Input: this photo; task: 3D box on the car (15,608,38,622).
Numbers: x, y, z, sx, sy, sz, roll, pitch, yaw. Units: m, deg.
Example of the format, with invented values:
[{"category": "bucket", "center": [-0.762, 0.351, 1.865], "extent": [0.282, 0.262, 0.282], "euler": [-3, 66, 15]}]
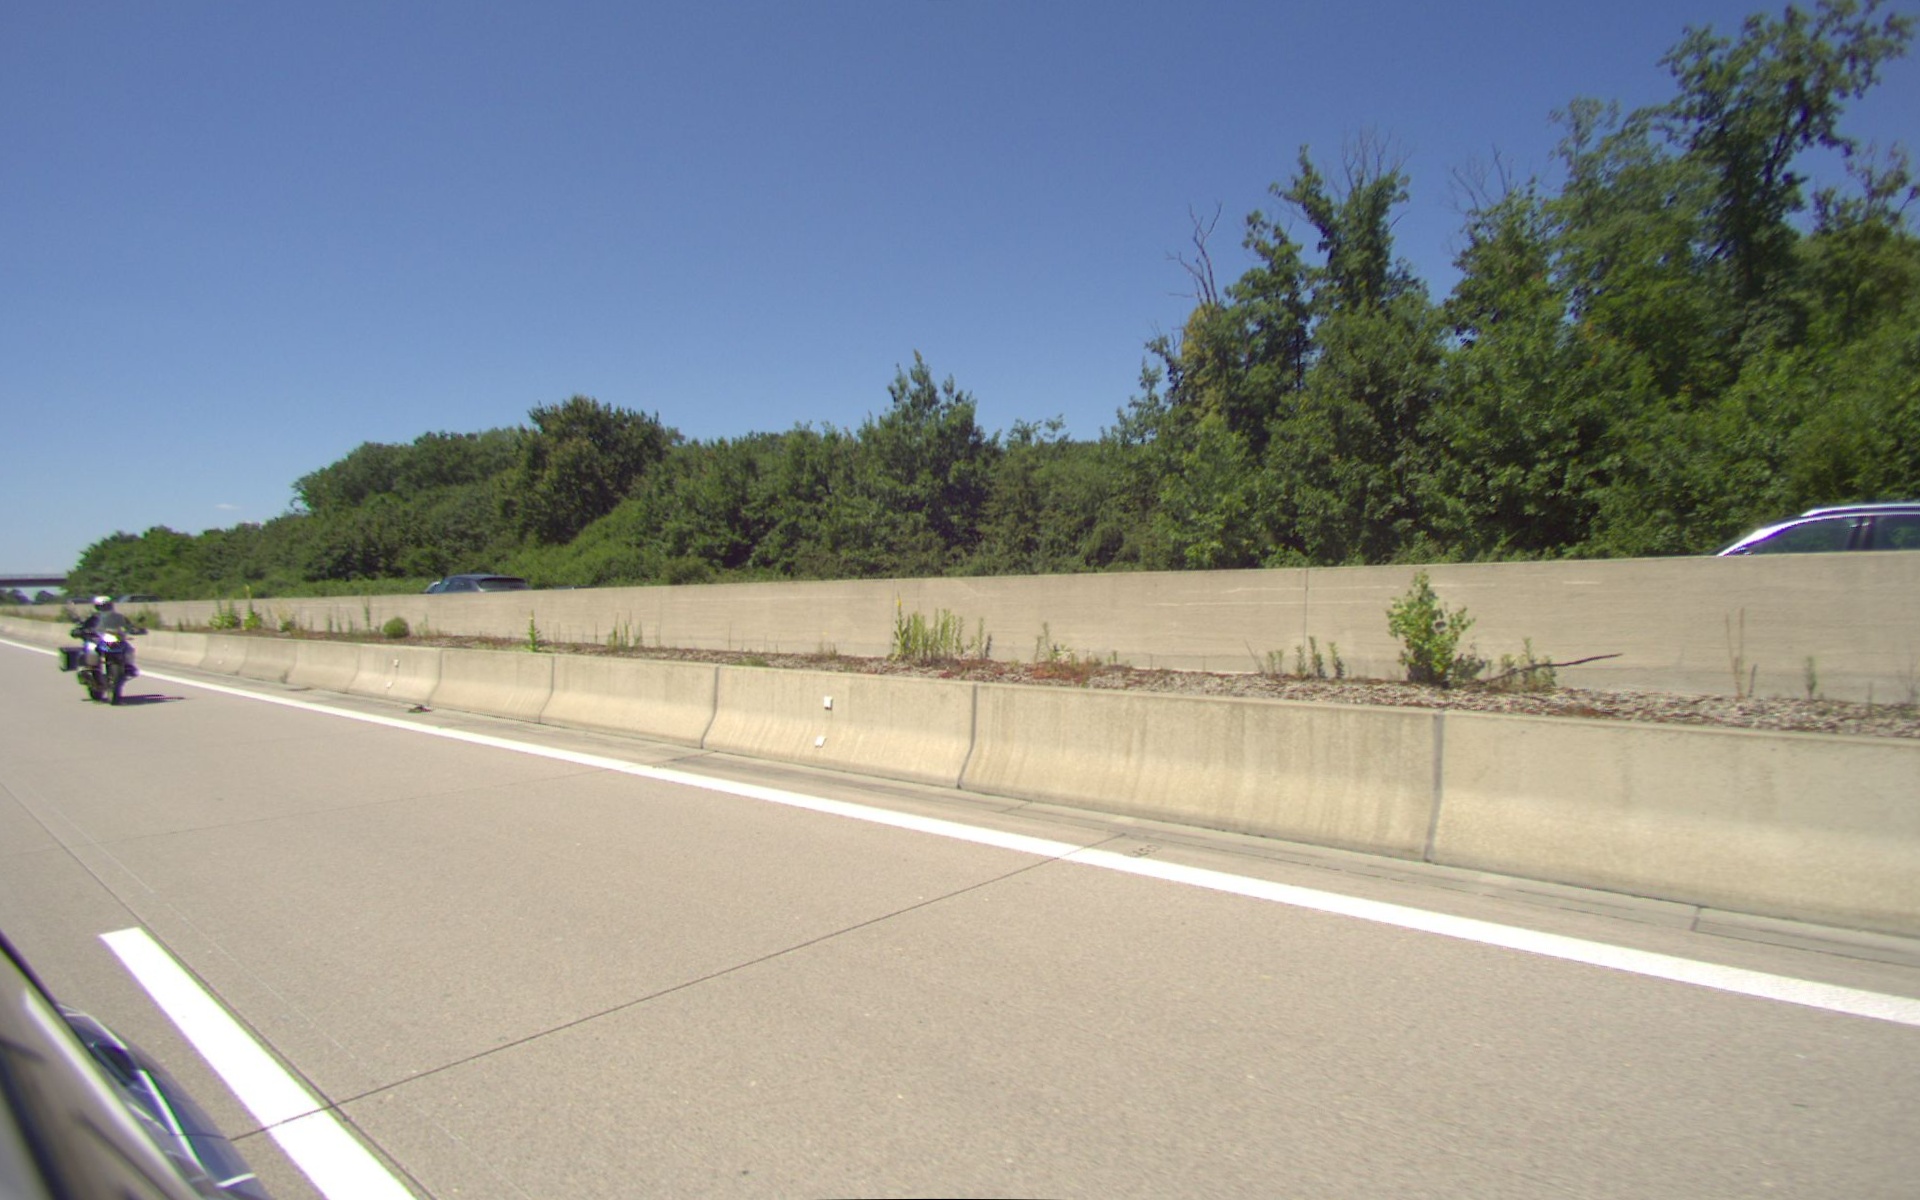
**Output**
[{"category": "car", "center": [-120.642, 1.996, 130.820], "extent": [4.403, 1.670, 1.685], "euler": [-3, -3, 41]}]

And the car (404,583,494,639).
[{"category": "car", "center": [-19.435, 0.428, 38.439], "extent": [4.101, 2.029, 1.617], "euler": [-1, -1, 41]}]

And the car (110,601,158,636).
[{"category": "car", "center": [-48.854, 1.068, 59.861], "extent": [3.651, 2.029, 1.618], "euler": [-1, -1, 41]}]

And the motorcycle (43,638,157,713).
[{"category": "motorcycle", "center": [-13.761, 1.160, 16.165], "extent": [2.411, 1.056, 1.011], "euler": [-2, 0, 41]}]

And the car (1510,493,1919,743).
[{"category": "car", "center": [7.803, 0.149, 9.143], "extent": [4.784, 2.029, 1.417], "euler": [-1, -1, 41]}]

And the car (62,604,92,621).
[{"category": "car", "center": [-91.177, 1.285, 104.463], "extent": [4.216, 1.683, 1.781], "euler": [-1, 1, 41]}]

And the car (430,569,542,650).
[{"category": "car", "center": [-12.769, 0.258, 27.187], "extent": [3.518, 2.029, 1.417], "euler": [-1, -1, 41]}]

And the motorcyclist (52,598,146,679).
[{"category": "motorcyclist", "center": [-13.753, 0.597, 16.166], "extent": [0.911, 1.218, 1.014], "euler": [-2, -1, 41]}]
